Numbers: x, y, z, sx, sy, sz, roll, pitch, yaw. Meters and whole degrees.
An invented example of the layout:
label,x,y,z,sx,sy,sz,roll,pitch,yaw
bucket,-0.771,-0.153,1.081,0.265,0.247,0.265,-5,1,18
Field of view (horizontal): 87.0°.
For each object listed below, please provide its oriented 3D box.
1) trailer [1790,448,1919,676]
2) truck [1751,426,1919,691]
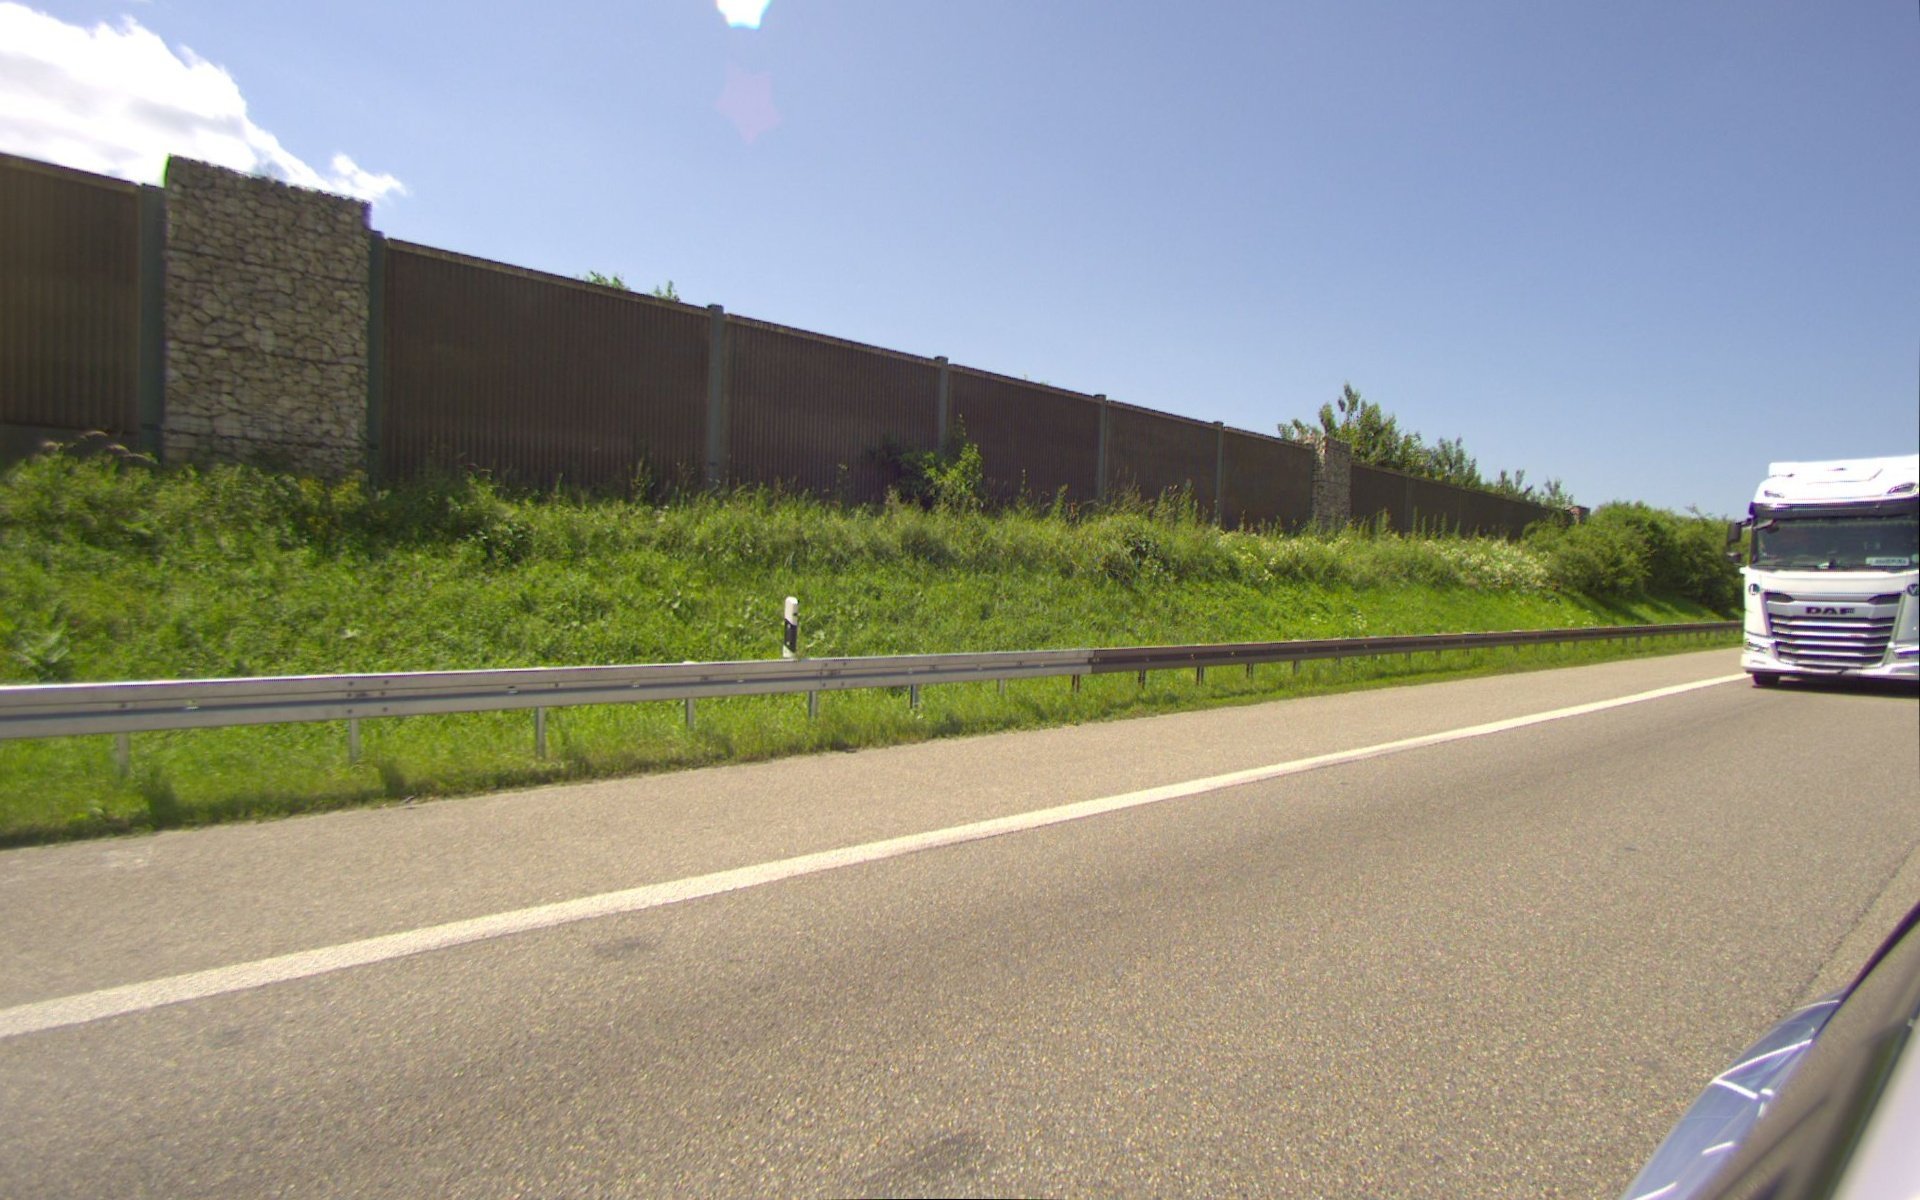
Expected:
label,x,y,z,sx,sy,sz,roll,pitch,yaw
trailer,21.518,-0.706,22.840,13.423,4.027,2.481,0,1,-43
truck,16.373,-0.658,18.126,6.273,4.027,2.481,0,1,-43
